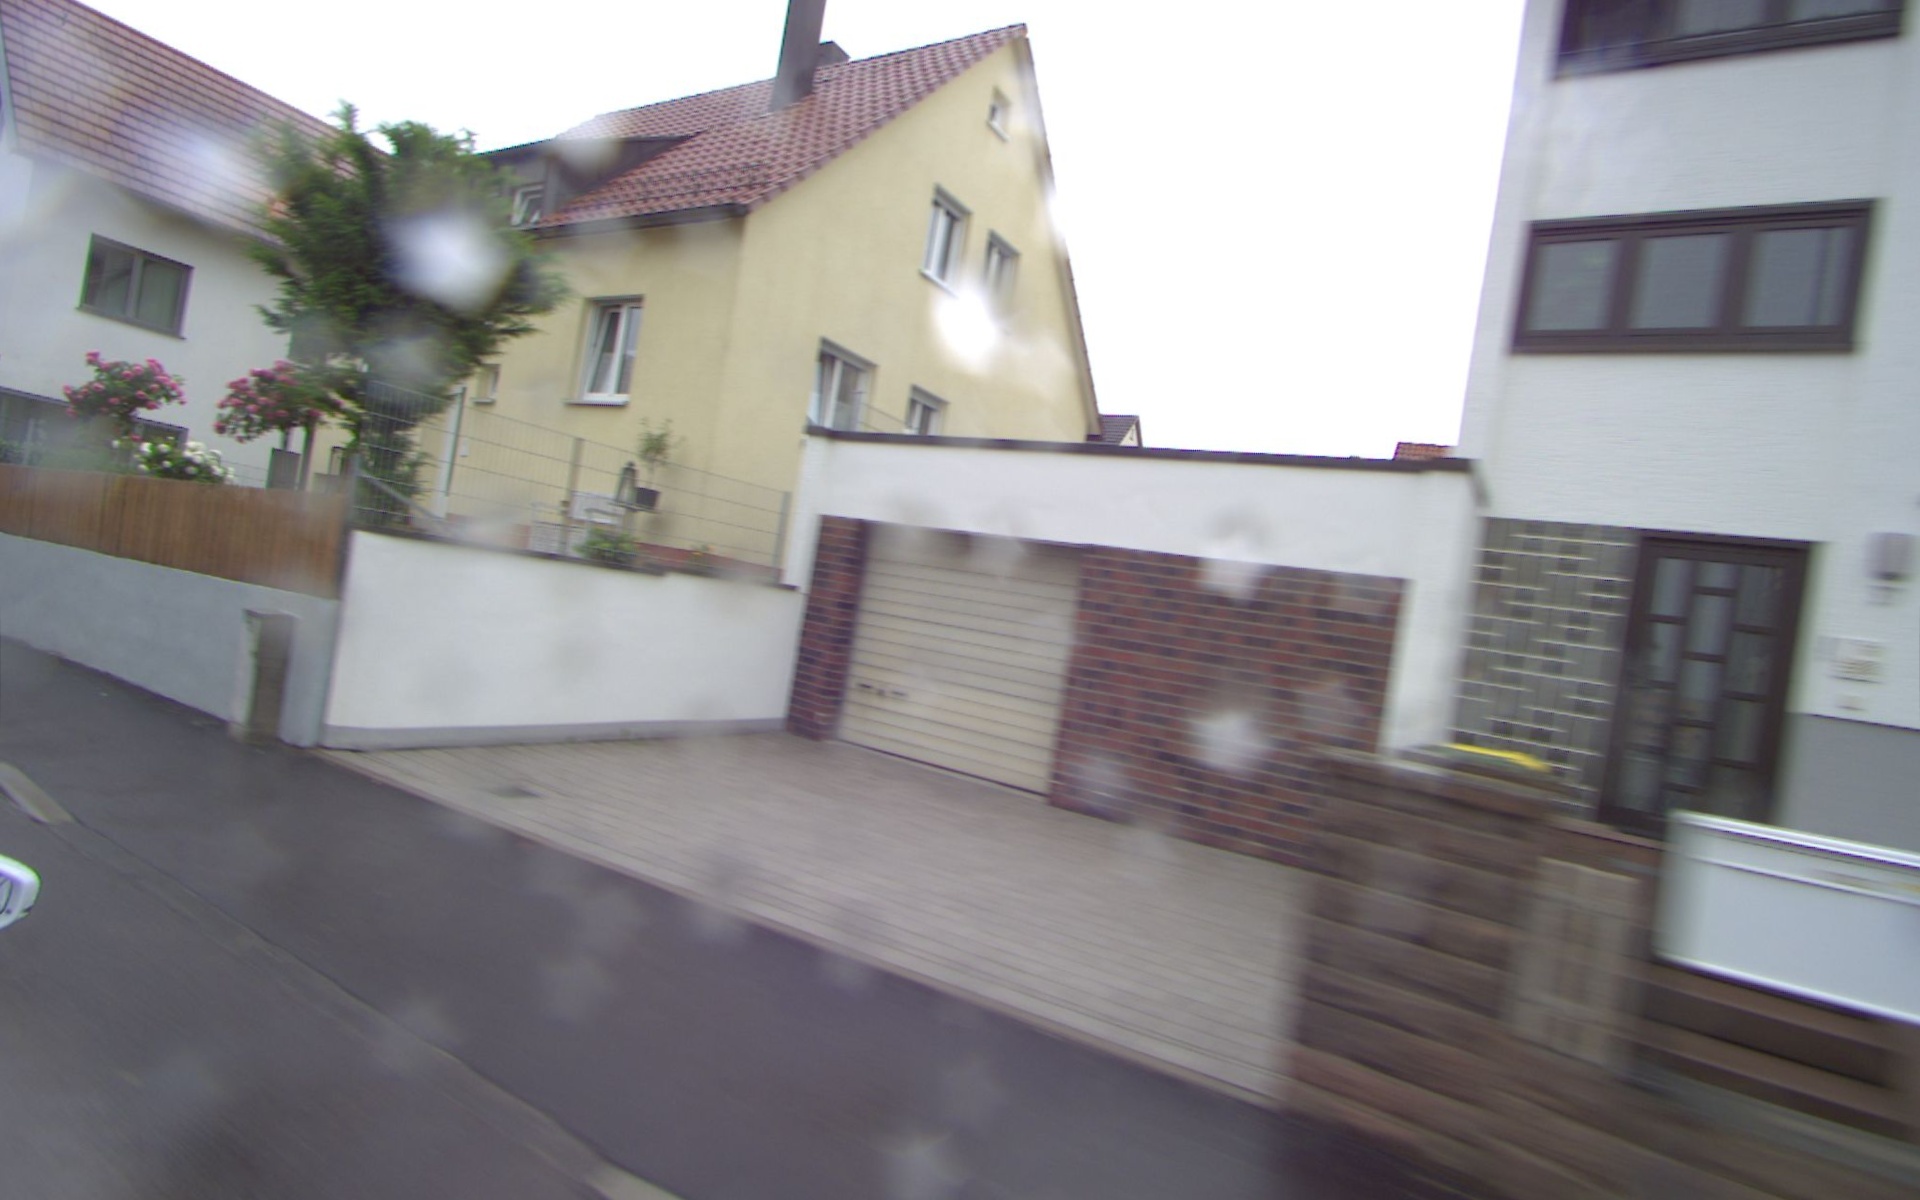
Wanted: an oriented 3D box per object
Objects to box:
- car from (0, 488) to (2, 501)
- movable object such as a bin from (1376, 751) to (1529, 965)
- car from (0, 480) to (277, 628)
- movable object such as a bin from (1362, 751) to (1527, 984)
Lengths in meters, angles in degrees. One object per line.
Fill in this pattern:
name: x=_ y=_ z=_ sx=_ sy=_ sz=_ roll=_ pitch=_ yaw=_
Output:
car: x=-22.233 y=-1.956 z=20.595 sx=1.489 sy=1.580 sz=3.384 roll=11 pitch=-2 yaw=31
movable object such as a bin: x=3.015 y=1.528 z=6.136 sx=0.618 sy=1.085 sz=0.652 roll=11 pitch=-1 yaw=32
car: x=-11.504 y=-0.624 z=13.384 sx=1.710 sy=1.540 sz=3.500 roll=8 pitch=-1 yaw=31
movable object such as a bin: x=2.712 y=1.452 z=5.623 sx=0.618 sy=1.085 sz=0.499 roll=11 pitch=-1 yaw=32
